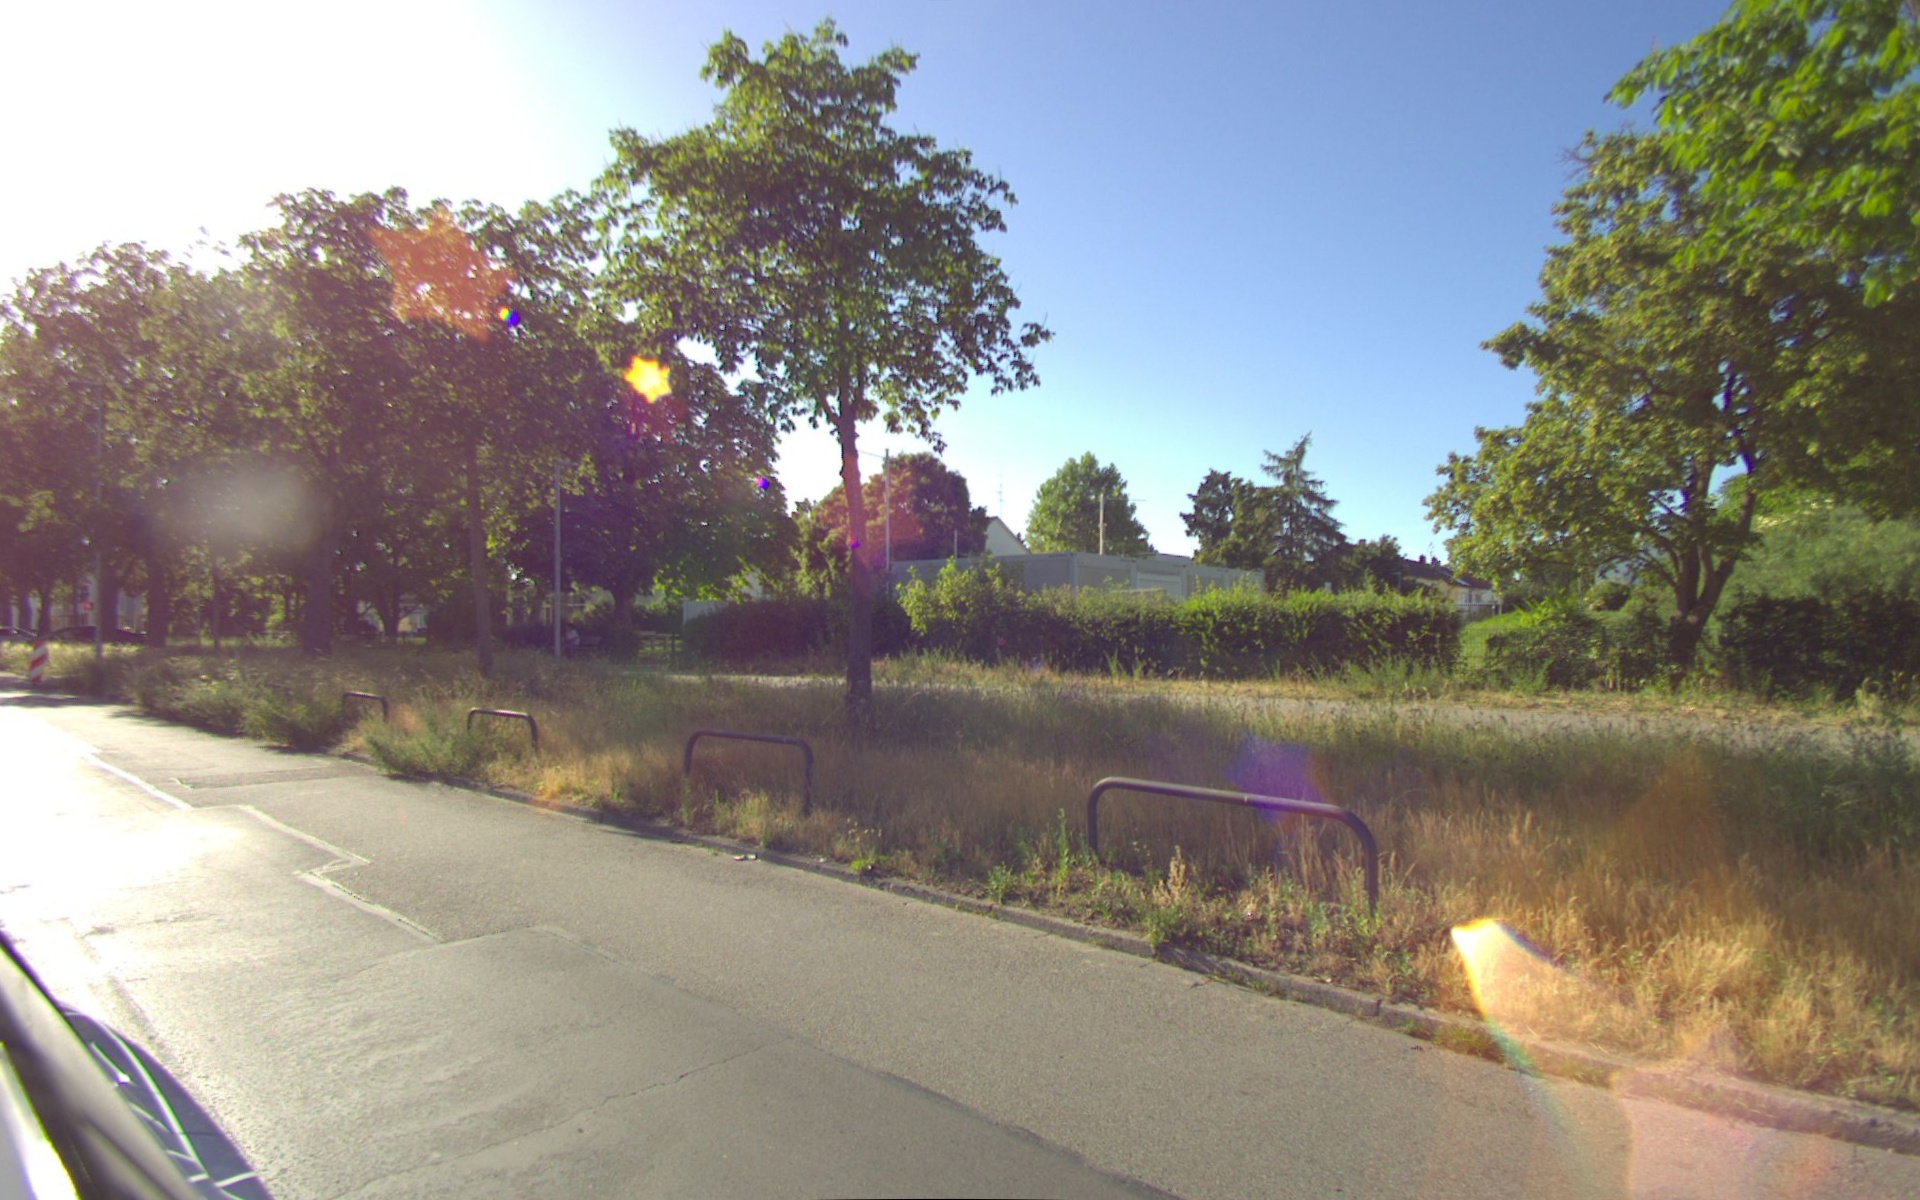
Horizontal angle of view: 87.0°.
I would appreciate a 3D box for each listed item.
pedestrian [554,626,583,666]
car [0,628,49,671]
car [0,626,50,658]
[{"bbox_3d":[-11.968,1.389,30.955,0.521,1.166,0.631,-1,1,40],"label":"pedestrian"},{"bbox_3d":[-37.215,1.884,37.801,1.999,1.573,4.555,-2,-1,42],"label":"car"},{"bbox_3d":[-50.517,2.215,52.948,1.999,1.573,4.149,-2,-1,42],"label":"car"}]
